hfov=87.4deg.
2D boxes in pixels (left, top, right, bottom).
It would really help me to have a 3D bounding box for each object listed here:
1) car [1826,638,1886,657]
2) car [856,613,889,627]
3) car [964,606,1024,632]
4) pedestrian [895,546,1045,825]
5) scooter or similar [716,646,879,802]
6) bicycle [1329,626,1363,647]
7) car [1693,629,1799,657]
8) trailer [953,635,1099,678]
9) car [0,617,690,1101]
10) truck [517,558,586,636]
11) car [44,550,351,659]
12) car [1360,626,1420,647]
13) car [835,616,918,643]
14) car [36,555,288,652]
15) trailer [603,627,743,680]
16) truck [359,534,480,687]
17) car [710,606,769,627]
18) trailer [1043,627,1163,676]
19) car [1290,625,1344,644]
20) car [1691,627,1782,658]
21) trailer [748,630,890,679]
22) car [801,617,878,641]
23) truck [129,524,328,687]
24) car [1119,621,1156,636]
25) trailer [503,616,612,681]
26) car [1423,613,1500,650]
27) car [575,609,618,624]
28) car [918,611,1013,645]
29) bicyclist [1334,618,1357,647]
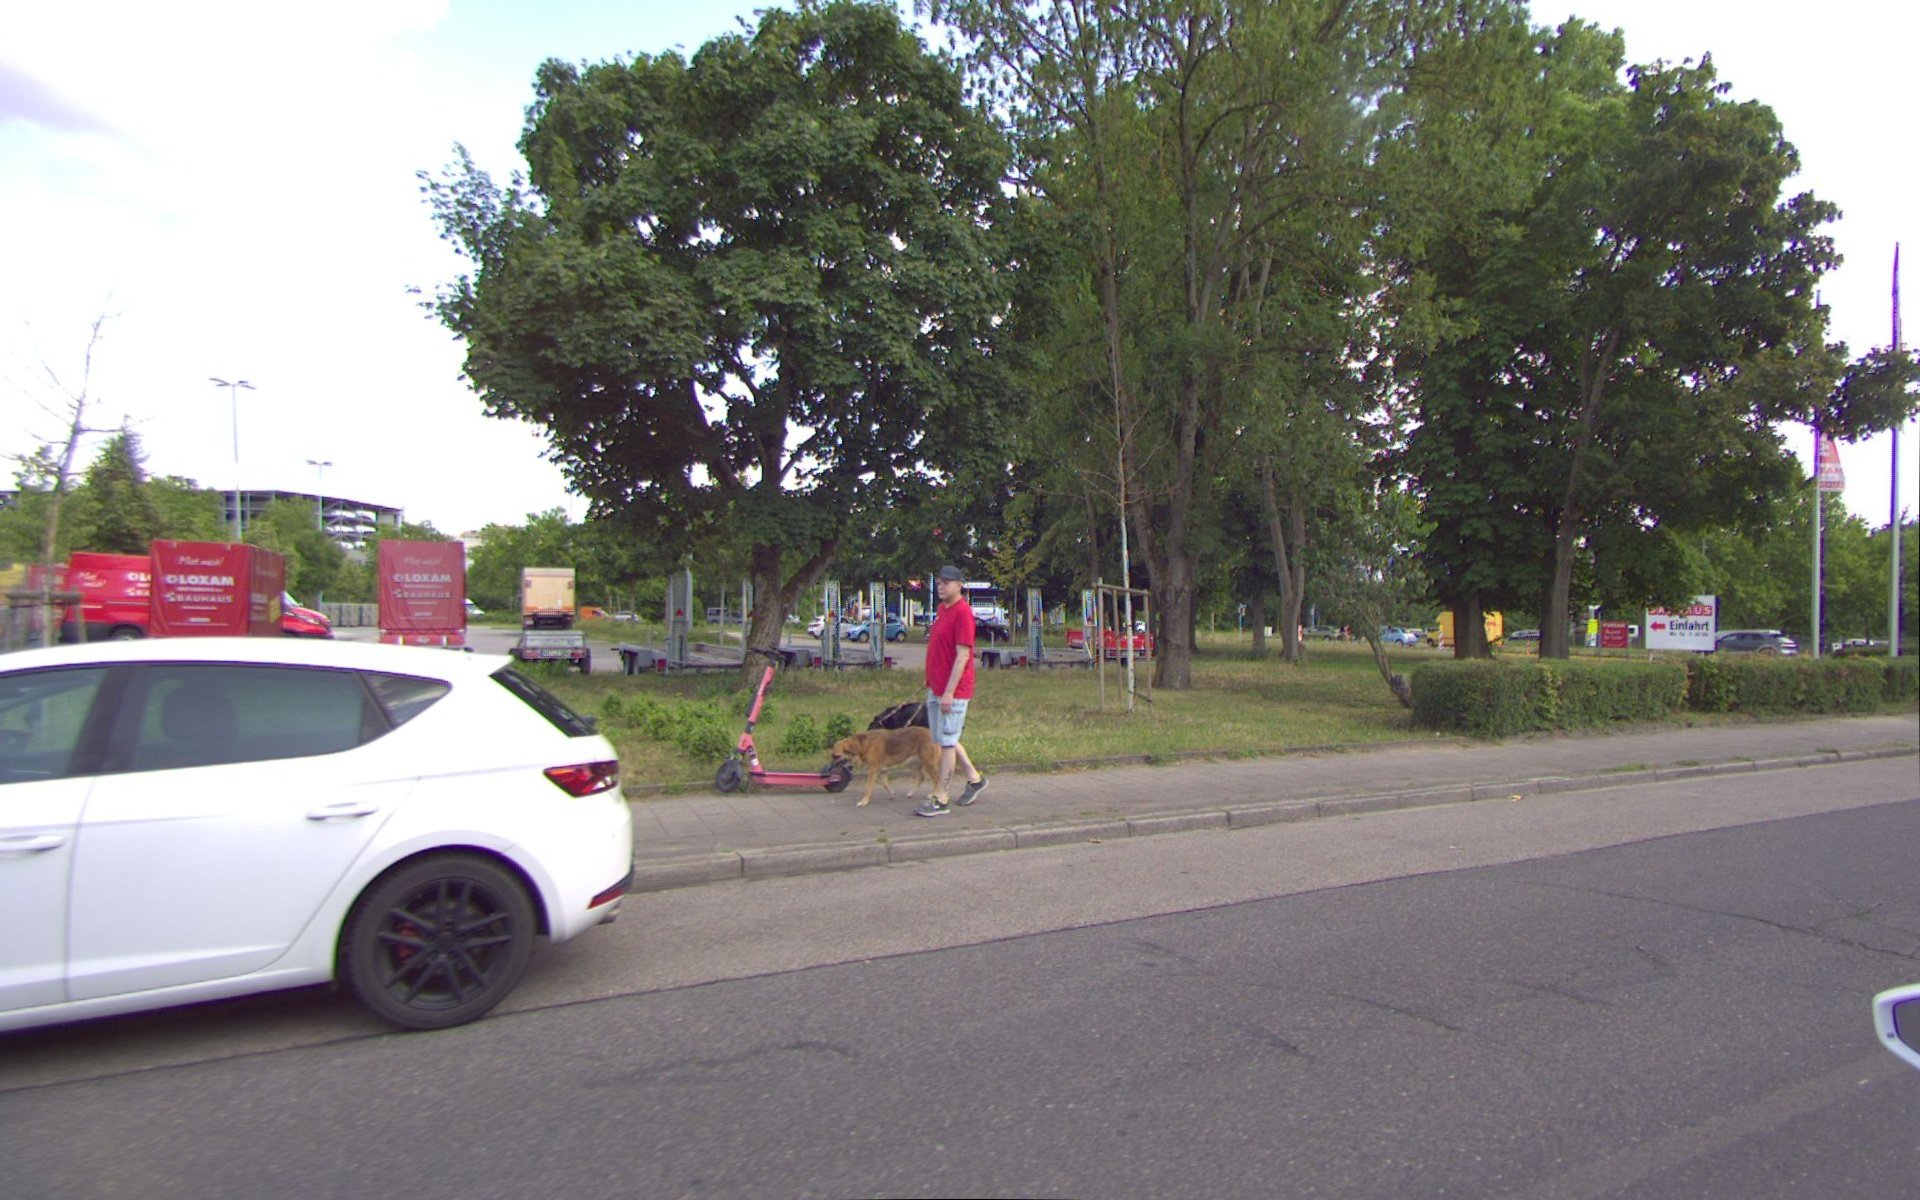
[{"bbox_3d":[87.082,4.651,97.634,3.919,1.684,1.921,1,-1,6],"label":"car"},{"bbox_3d":[-11.489,2.660,132.202,3.919,1.808,1.893,1,-1,10],"label":"car"},{"bbox_3d":[3.478,1.914,101.792,5.790,2.475,2.213,1,-1,7],"label":"car"},{"bbox_3d":[0.068,0.635,7.902,0.874,2.040,0.806,1,-1,-27],"label":"pedestrian"},{"bbox_3d":[-1.356,1.003,8.344,1.259,1.209,0.517,1,0,-16],"label":"scooter or similar"},{"bbox_3d":[22.577,2.117,58.733,0.722,1.181,1.800,0,-1,-31],"label":"bicycle"},{"bbox_3d":[43.301,2.347,55.445,1.900,1.424,4.203,1,-1,-28],"label":"car"},{"bbox_3d":[1.610,1.435,26.594,2.155,0.925,4.587,1,-1,-21],"label":"trailer"},{"bbox_3d":[-3.358,0.849,3.935,4.182,1.498,1.759,1,-3,-28],"label":"car"},{"bbox_3d":[-23.306,-0.105,57.019,2.948,4.001,8.296,3,-1,-26],"label":"truck"},{"bbox_3d":[-20.893,0.199,28.028,6.355,2.628,2.258,3,-1,-26],"label":"car"},{"bbox_3d":[32.683,2.769,76.453,1.775,1.424,4.001,1,-1,-28],"label":"car"},{"bbox_3d":[-4.773,1.670,57.436,4.354,1.431,1.986,2,-1,-27],"label":"car"},{"bbox_3d":[-24.536,0.167,31.248,5.649,2.628,2.258,3,-1,-26],"label":"car"},{"bbox_3d":[-6.464,1.155,22.290,2.133,0.925,4.217,3,-2,-28],"label":"trailer"},{"bbox_3d":[-10.731,0.216,20.279,1.756,2.628,5.530,3,-1,-25],"label":"truck"},{"bbox_3d":[-23.835,1.739,108.504,5.790,2.104,2.213,1,-1,7],"label":"car"},{"bbox_3d":[3.877,1.384,27.880,1.689,1.206,3.812,1,-1,-20],"label":"trailer"},{"bbox_3d":[29.035,2.764,81.773,1.775,1.424,4.001,1,-1,-28],"label":"car"},{"bbox_3d":[59.615,3.261,77.199,1.776,2.240,5.262,2,-1,-29],"label":"car"},{"bbox_3d":[-3.429,1.253,23.683,1.998,0.925,4.217,3,-2,-28],"label":"trailer"},{"bbox_3d":[-7.496,1.810,62.449,4.354,1.431,1.986,2,-1,-27],"label":"car"},{"bbox_3d":[-13.750,0.131,19.294,1.790,2.628,5.739,3,-1,-24],"label":"truck"},{"bbox_3d":[19.648,3.143,111.193,3.831,1.523,1.876,1,-1,6],"label":"car"},{"bbox_3d":[-8.528,0.971,21.093,1.651,1.135,4.217,3,-2,-28],"label":"trailer"},{"bbox_3d":[37.285,2.319,74.912,2.164,2.612,6.400,1,-1,-5],"label":"car"},{"bbox_3d":[-38.868,1.773,107.467,3.919,1.532,1.921,1,-1,6],"label":"car"},{"bbox_3d":[0.279,1.326,47.641,4.302,1.531,1.562,2,-1,-27],"label":"car"},{"bbox_3d":[22.555,1.893,58.748,0.726,1.669,1.001,0,-1,-31],"label":"bicyclist"}]
